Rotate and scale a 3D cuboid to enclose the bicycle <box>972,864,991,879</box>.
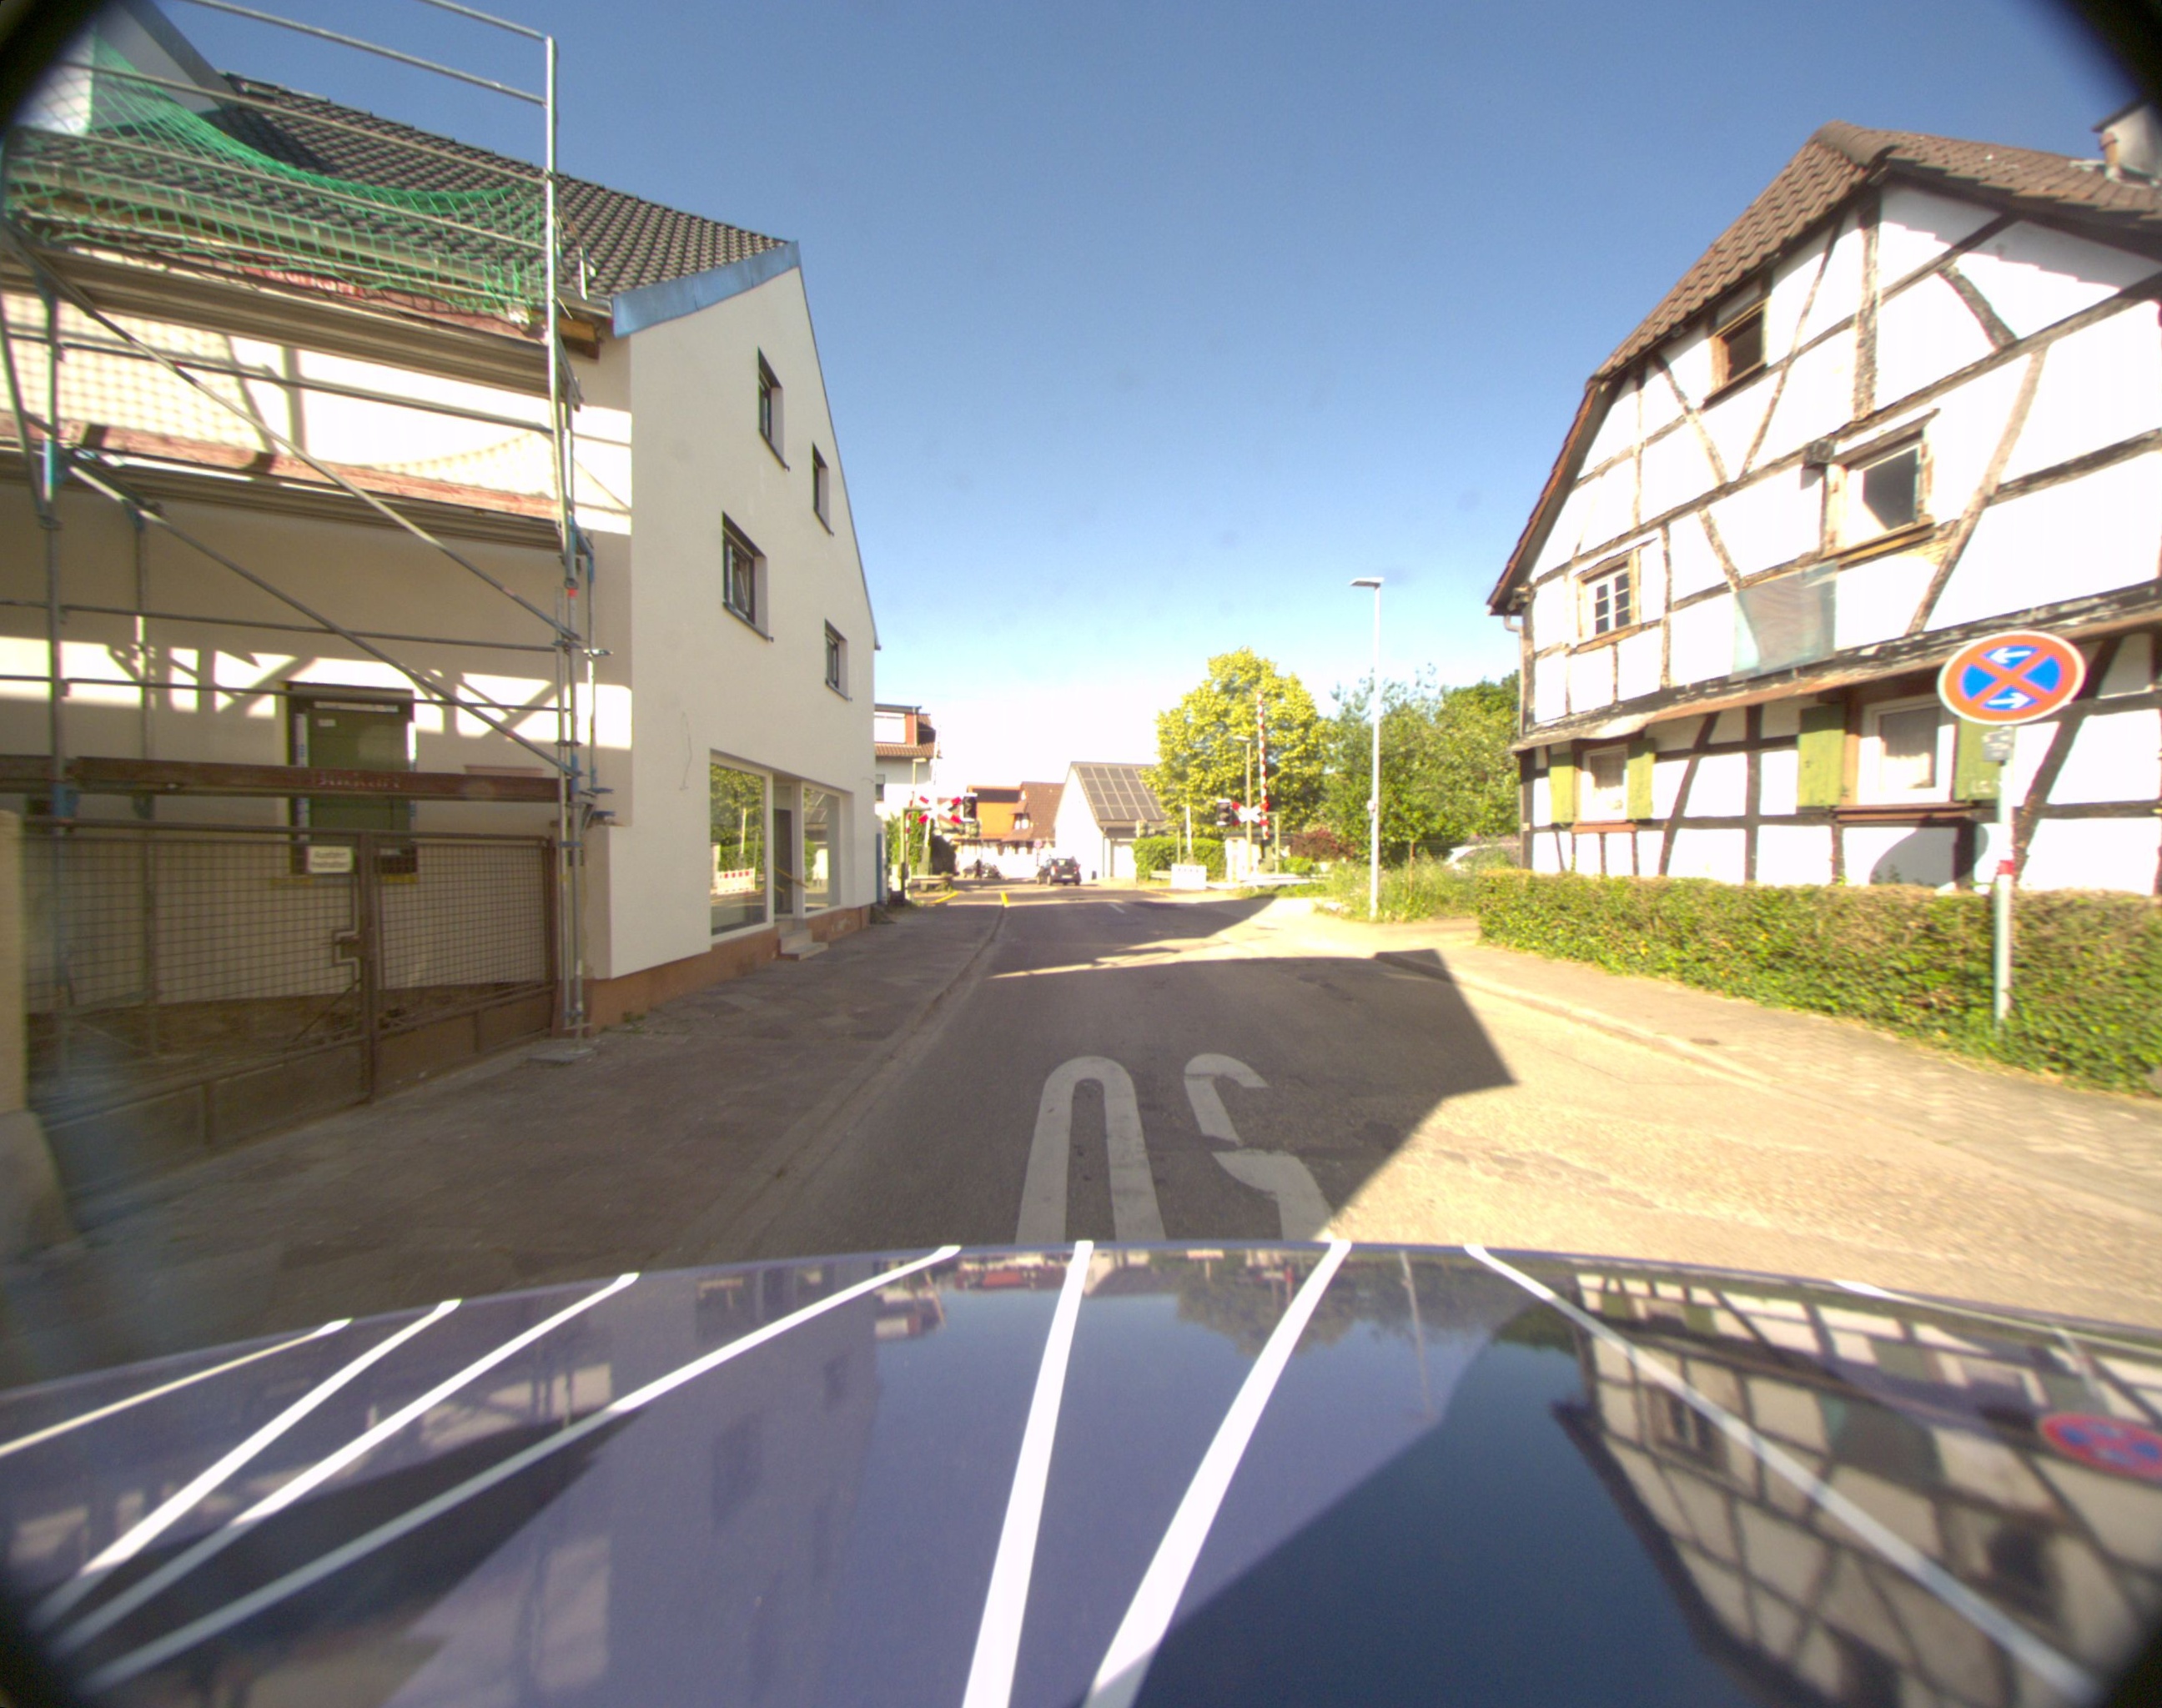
[{"bbox_3d":[-7.515,1.312,57.477,0.887,1.000,2.058,-2,2,-22],"label":"bicycle"}]

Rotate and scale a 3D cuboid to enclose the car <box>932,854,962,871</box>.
[{"bbox_3d":[-13.061,0.832,73.906,1.792,1.595,4.352,-1,0,-24],"label":"car"}]

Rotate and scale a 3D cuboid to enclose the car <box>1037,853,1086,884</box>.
[{"bbox_3d":[-1.104,0.732,40.584,1.693,1.501,3.648,-1,1,-16],"label":"car"}]

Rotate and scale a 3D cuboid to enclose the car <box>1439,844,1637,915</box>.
[{"bbox_3d":[11.395,0.604,19.083,3.989,1.555,1.692,-1,2,42],"label":"car"}]

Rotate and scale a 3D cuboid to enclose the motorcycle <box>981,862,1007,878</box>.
[{"bbox_3d":[-6.870,1.254,60.147,1.990,1.224,0.628,-1,0,20],"label":"motorcycle"}]

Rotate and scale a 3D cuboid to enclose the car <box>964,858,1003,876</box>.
[{"bbox_3d":[-8.187,1.021,63.340,1.853,1.398,5.026,0,0,-24],"label":"car"}]

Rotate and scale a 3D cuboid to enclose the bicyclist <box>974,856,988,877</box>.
[{"bbox_3d":[-7.583,0.950,57.529,0.852,1.533,0.871,-3,3,-20],"label":"bicyclist"}]
